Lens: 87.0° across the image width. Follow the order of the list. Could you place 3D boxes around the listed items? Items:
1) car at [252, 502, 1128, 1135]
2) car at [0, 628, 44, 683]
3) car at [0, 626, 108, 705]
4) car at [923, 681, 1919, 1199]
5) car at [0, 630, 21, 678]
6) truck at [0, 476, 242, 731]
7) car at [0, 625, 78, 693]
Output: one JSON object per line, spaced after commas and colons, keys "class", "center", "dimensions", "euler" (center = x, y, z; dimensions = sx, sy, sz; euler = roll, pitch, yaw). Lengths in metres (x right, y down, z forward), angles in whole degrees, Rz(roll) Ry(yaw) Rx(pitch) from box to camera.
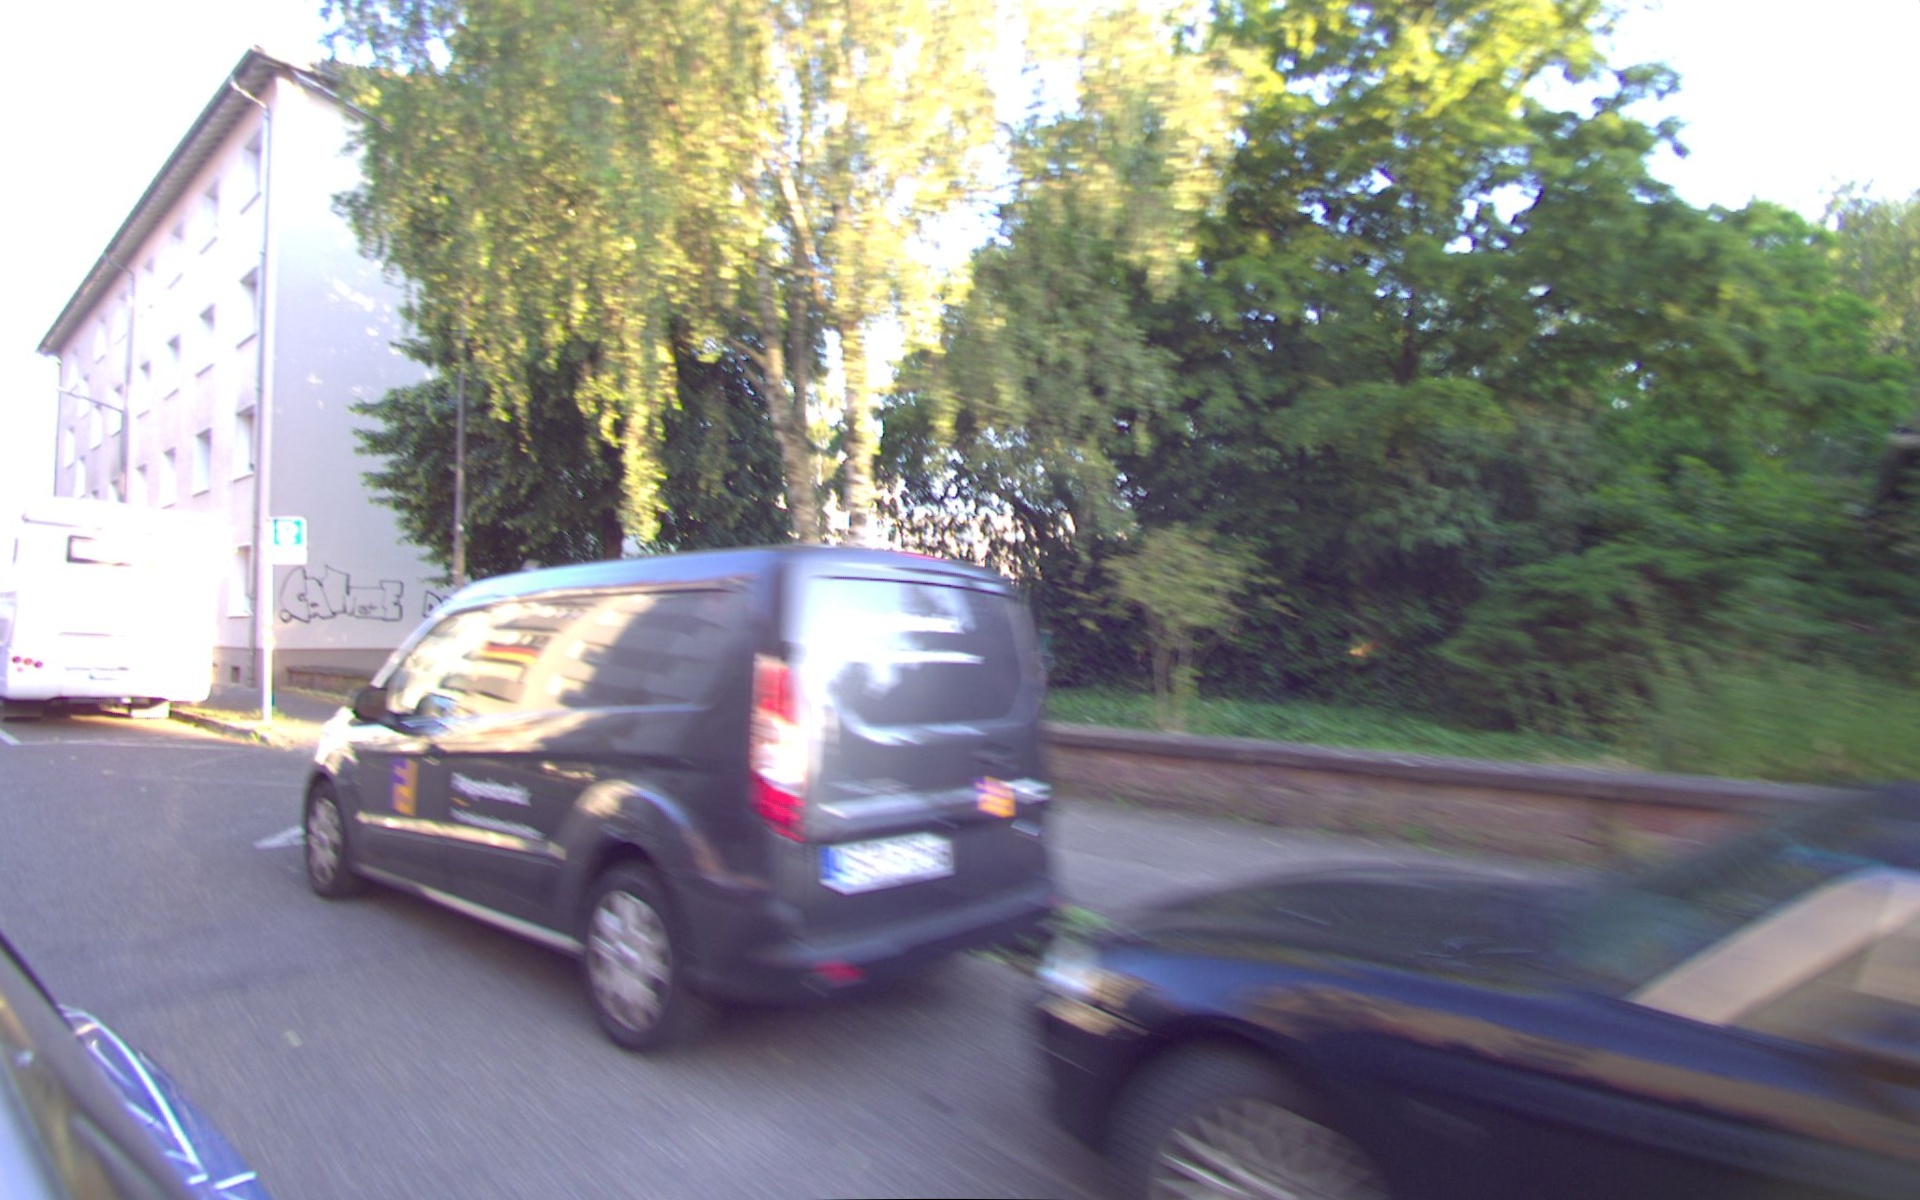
{"class": "car", "center": [-1.760, 0.713, 5.244], "dimensions": [4.946, 1.802, 1.890], "euler": [-2, -4, 41]}
{"class": "car", "center": [-27.078, 1.512, 28.007], "dimensions": [4.428, 1.455, 1.973], "euler": [-2, -3, 40]}
{"class": "car", "center": [-19.757, 1.360, 21.458], "dimensions": [4.908, 1.488, 1.886], "euler": [-2, -6, 42]}
{"class": "car", "center": [2.098, 0.878, 2.188], "dimensions": [4.029, 1.198, 1.975], "euler": [-1, -2, 37]}
{"class": "car", "center": [-30.951, 1.677, 31.572], "dimensions": [4.429, 1.455, 1.973], "euler": [-2, -3, 41]}
{"class": "truck", "center": [-14.786, 0.206, 16.946], "dimensions": [8.013, 3.379, 2.499], "euler": [-2, -5, 41]}
{"class": "car", "center": [-23.067, 1.410, 24.617], "dimensions": [4.065, 1.545, 1.771], "euler": [-2, -5, 40]}
